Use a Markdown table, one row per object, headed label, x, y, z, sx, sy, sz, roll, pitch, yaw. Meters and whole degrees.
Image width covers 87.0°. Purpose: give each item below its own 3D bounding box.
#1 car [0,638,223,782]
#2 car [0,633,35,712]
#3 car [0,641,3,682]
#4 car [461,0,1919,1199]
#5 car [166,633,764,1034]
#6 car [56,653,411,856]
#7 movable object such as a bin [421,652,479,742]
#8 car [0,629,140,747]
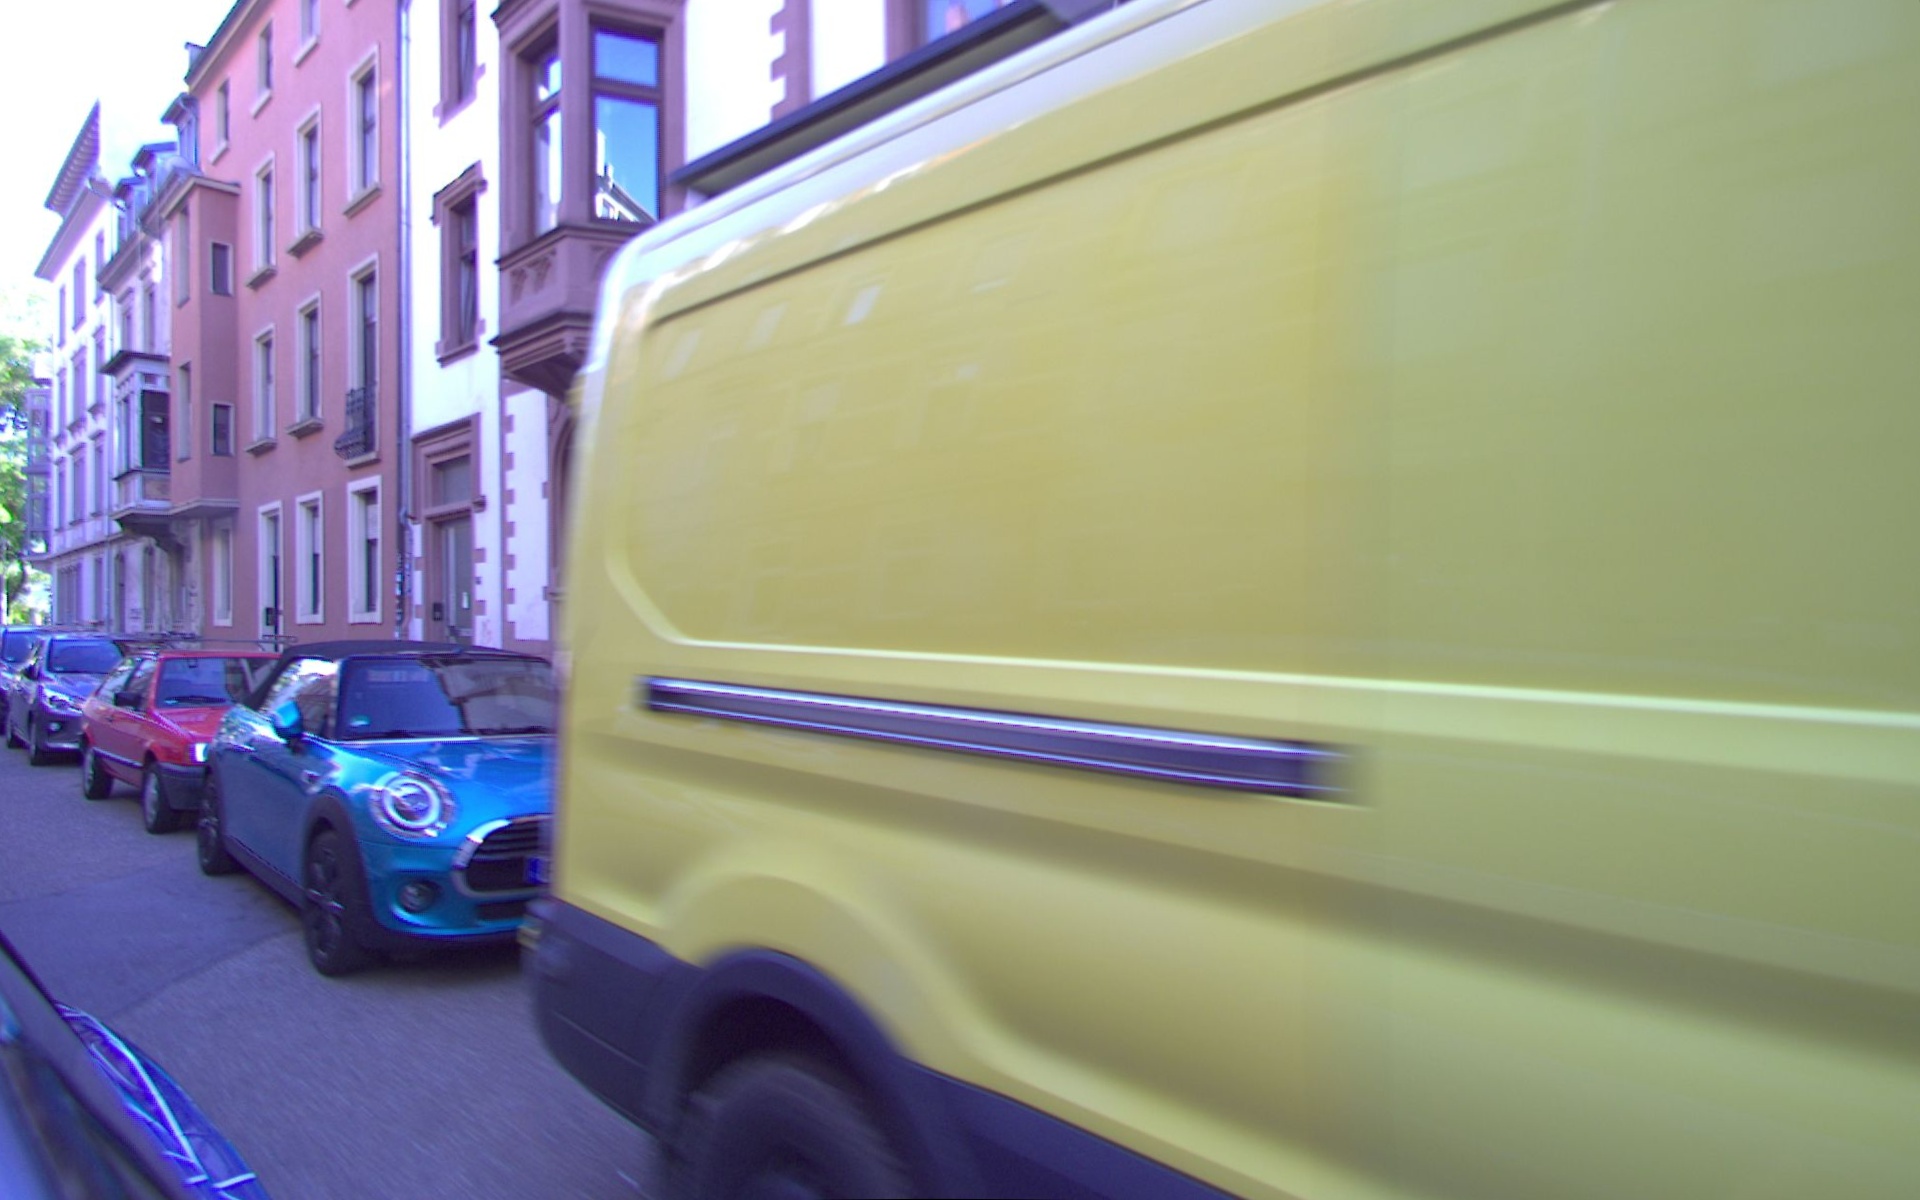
| label | x | y | z | sx | sy | sz | roll | pitch | yaw |
| --- | --- | --- | --- | --- | --- | --- | --- | --- | --- |
| car | -10.636 | 1.244 | 12.454 | 3.917 | 1.486 | 1.676 | -2 | -5 | 41 |
| car | -21.796 | 1.568 | 22.252 | 4.188 | 1.630 | 1.742 | -2 | -2 | 42 |
| car | -25.821 | 1.780 | 25.781 | 3.836 | 1.467 | 1.626 | -2 | -4 | 40 |
| car | 1.805 | 0.222 | 1.214 | 5.875 | 2.527 | 2.152 | -2 | -4 | 41 |
| car | -2.956 | 0.960 | 5.624 | 3.899 | 1.423 | 1.699 | -2 | -7 | 44 |
| car | -6.302 | 1.155 | 8.652 | 3.610 | 1.337 | 1.601 | -2 | -5 | 41 |
| movable object such as a bin | -6.303 | 1.178 | 12.507 | 0.543 | 1.034 | 0.560 | -2 | 0 | -34 |
| car | -14.473 | 1.296 | 15.887 | 4.066 | 1.618 | 1.763 | -2 | -2 | 40 |
